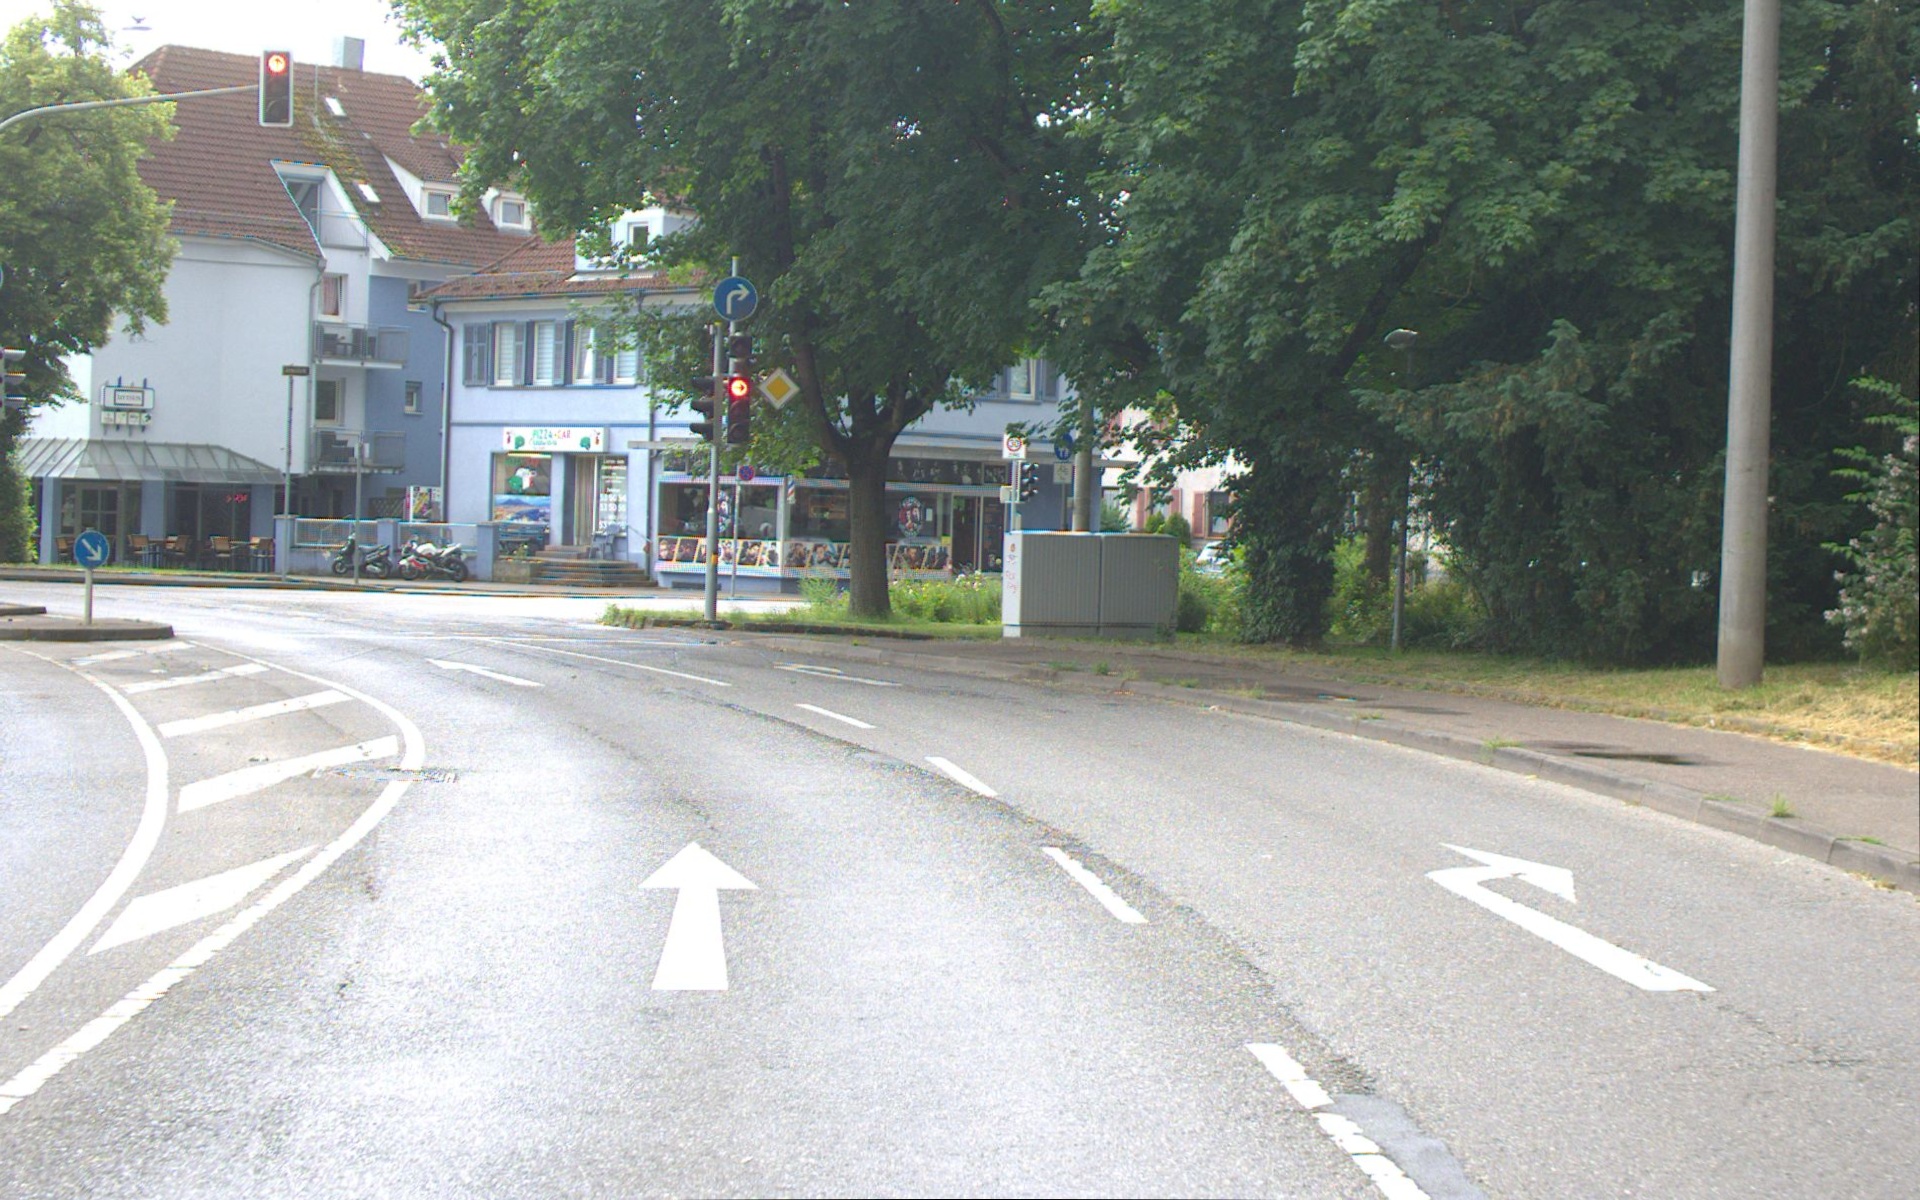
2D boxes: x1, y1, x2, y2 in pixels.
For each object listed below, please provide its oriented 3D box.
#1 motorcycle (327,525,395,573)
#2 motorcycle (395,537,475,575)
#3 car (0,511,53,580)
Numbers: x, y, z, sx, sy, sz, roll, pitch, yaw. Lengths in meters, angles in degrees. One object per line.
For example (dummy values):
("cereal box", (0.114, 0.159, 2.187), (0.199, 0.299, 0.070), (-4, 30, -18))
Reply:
("motorcycle", (-14.698, -1.253, 84.368), (1.496, 1.103, 0.560), (1, 6, 12))
("motorcycle", (-12.701, -1.072, 83.207), (1.837, 0.845, 0.560), (1, 6, 16))
("car", (-22.824, -1.252, 76.774), (4.580, 1.512, 1.999), (1, 1, 14))
